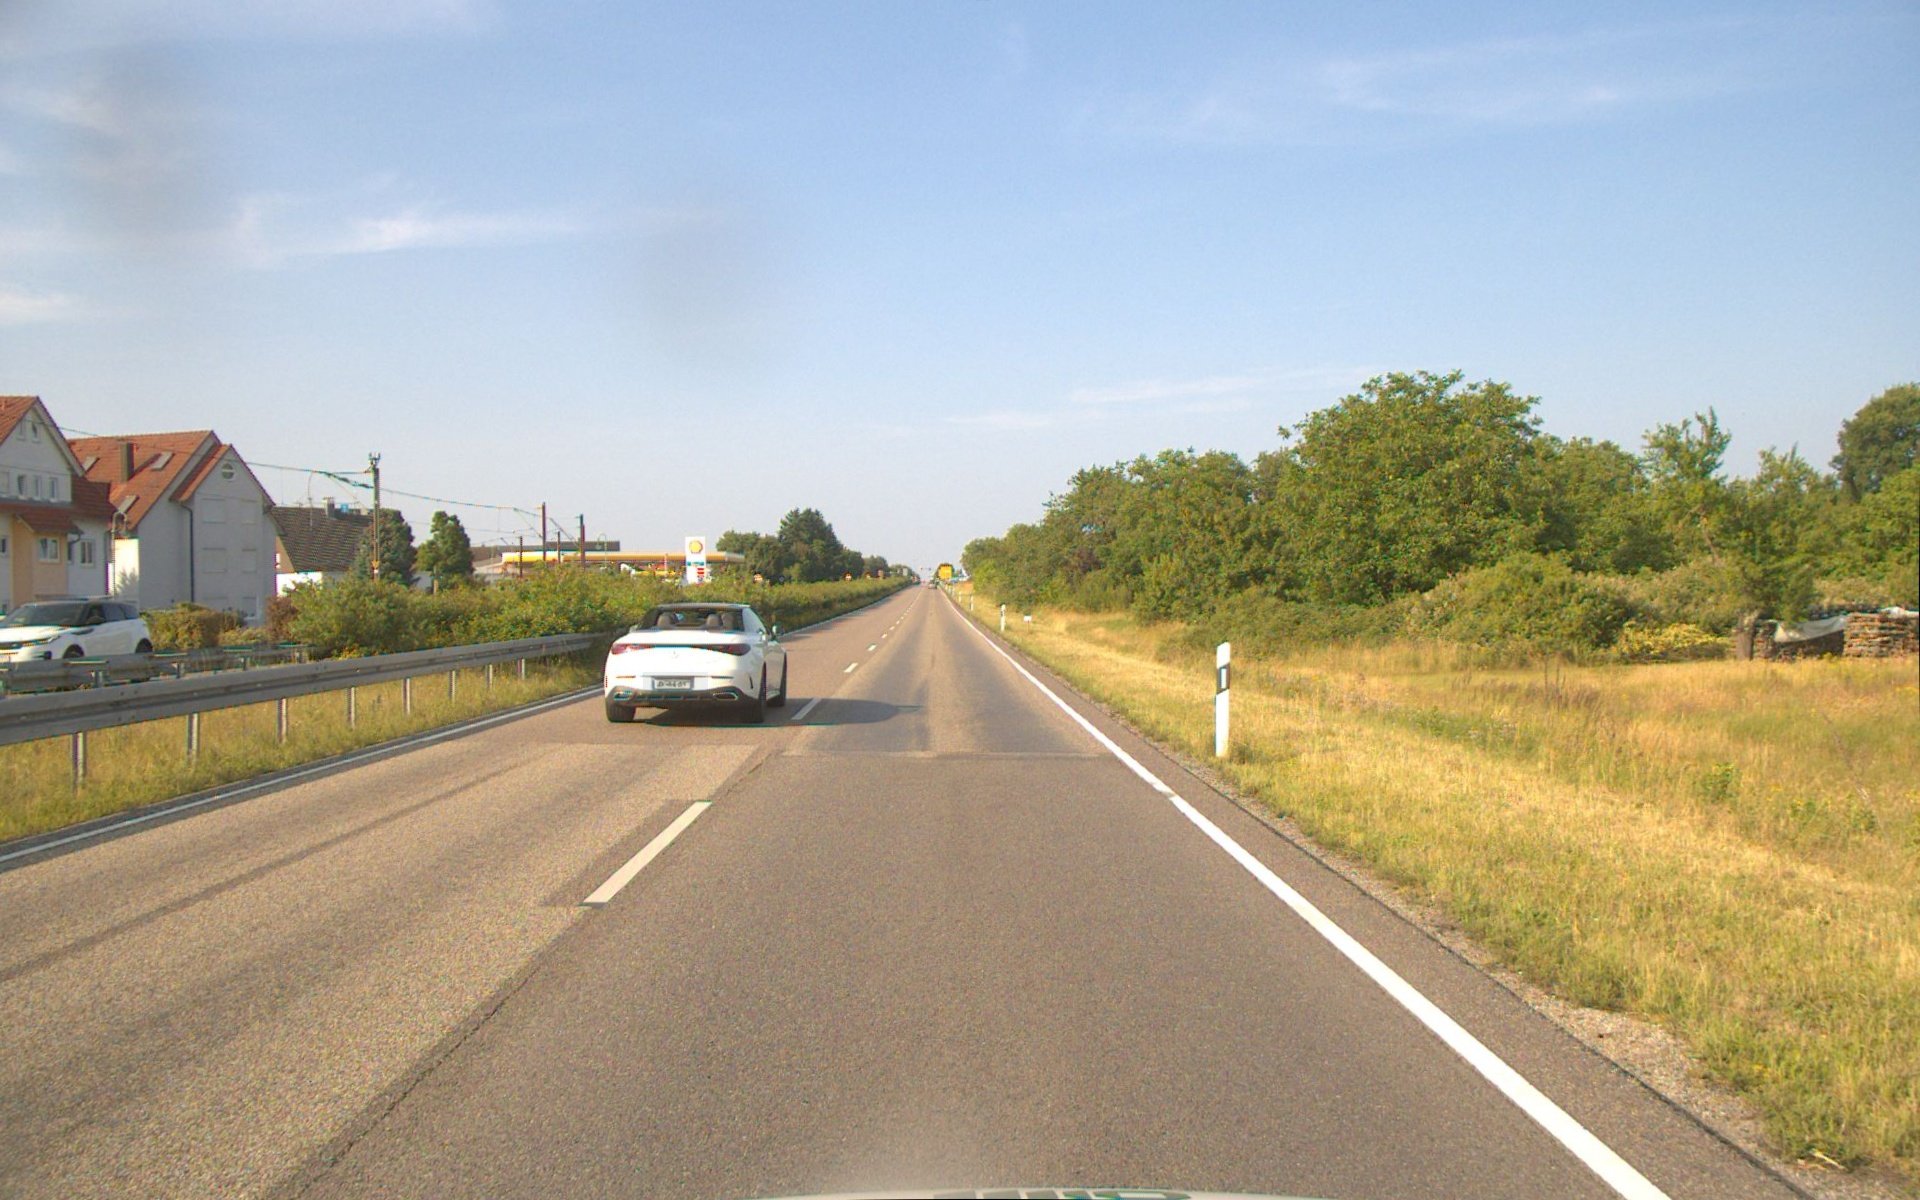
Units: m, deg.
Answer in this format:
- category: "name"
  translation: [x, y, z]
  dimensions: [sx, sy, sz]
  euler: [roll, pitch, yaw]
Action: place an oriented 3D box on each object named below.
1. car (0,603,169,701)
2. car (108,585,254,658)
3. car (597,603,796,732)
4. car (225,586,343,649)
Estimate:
- category: "car"
  translation: [-16.660, 0.907, 30.913]
  dimensions: [1.680, 1.640, 4.445]
  euler: [1, 0, -1]
- category: "car"
  translation: [-20.289, 0.534, 43.259]
  dimensions: [1.953, 1.780, 3.999]
  euler: [1, 0, -1]
- category: "car"
  translation: [-3.137, 0.746, 20.643]
  dimensions: [1.735, 1.361, 4.949]
  euler: [1, 0, -1]
- category: "car"
  translation: [-20.330, 0.502, 49.925]
  dimensions: [1.953, 1.780, 3.999]
  euler: [1, 0, -1]
